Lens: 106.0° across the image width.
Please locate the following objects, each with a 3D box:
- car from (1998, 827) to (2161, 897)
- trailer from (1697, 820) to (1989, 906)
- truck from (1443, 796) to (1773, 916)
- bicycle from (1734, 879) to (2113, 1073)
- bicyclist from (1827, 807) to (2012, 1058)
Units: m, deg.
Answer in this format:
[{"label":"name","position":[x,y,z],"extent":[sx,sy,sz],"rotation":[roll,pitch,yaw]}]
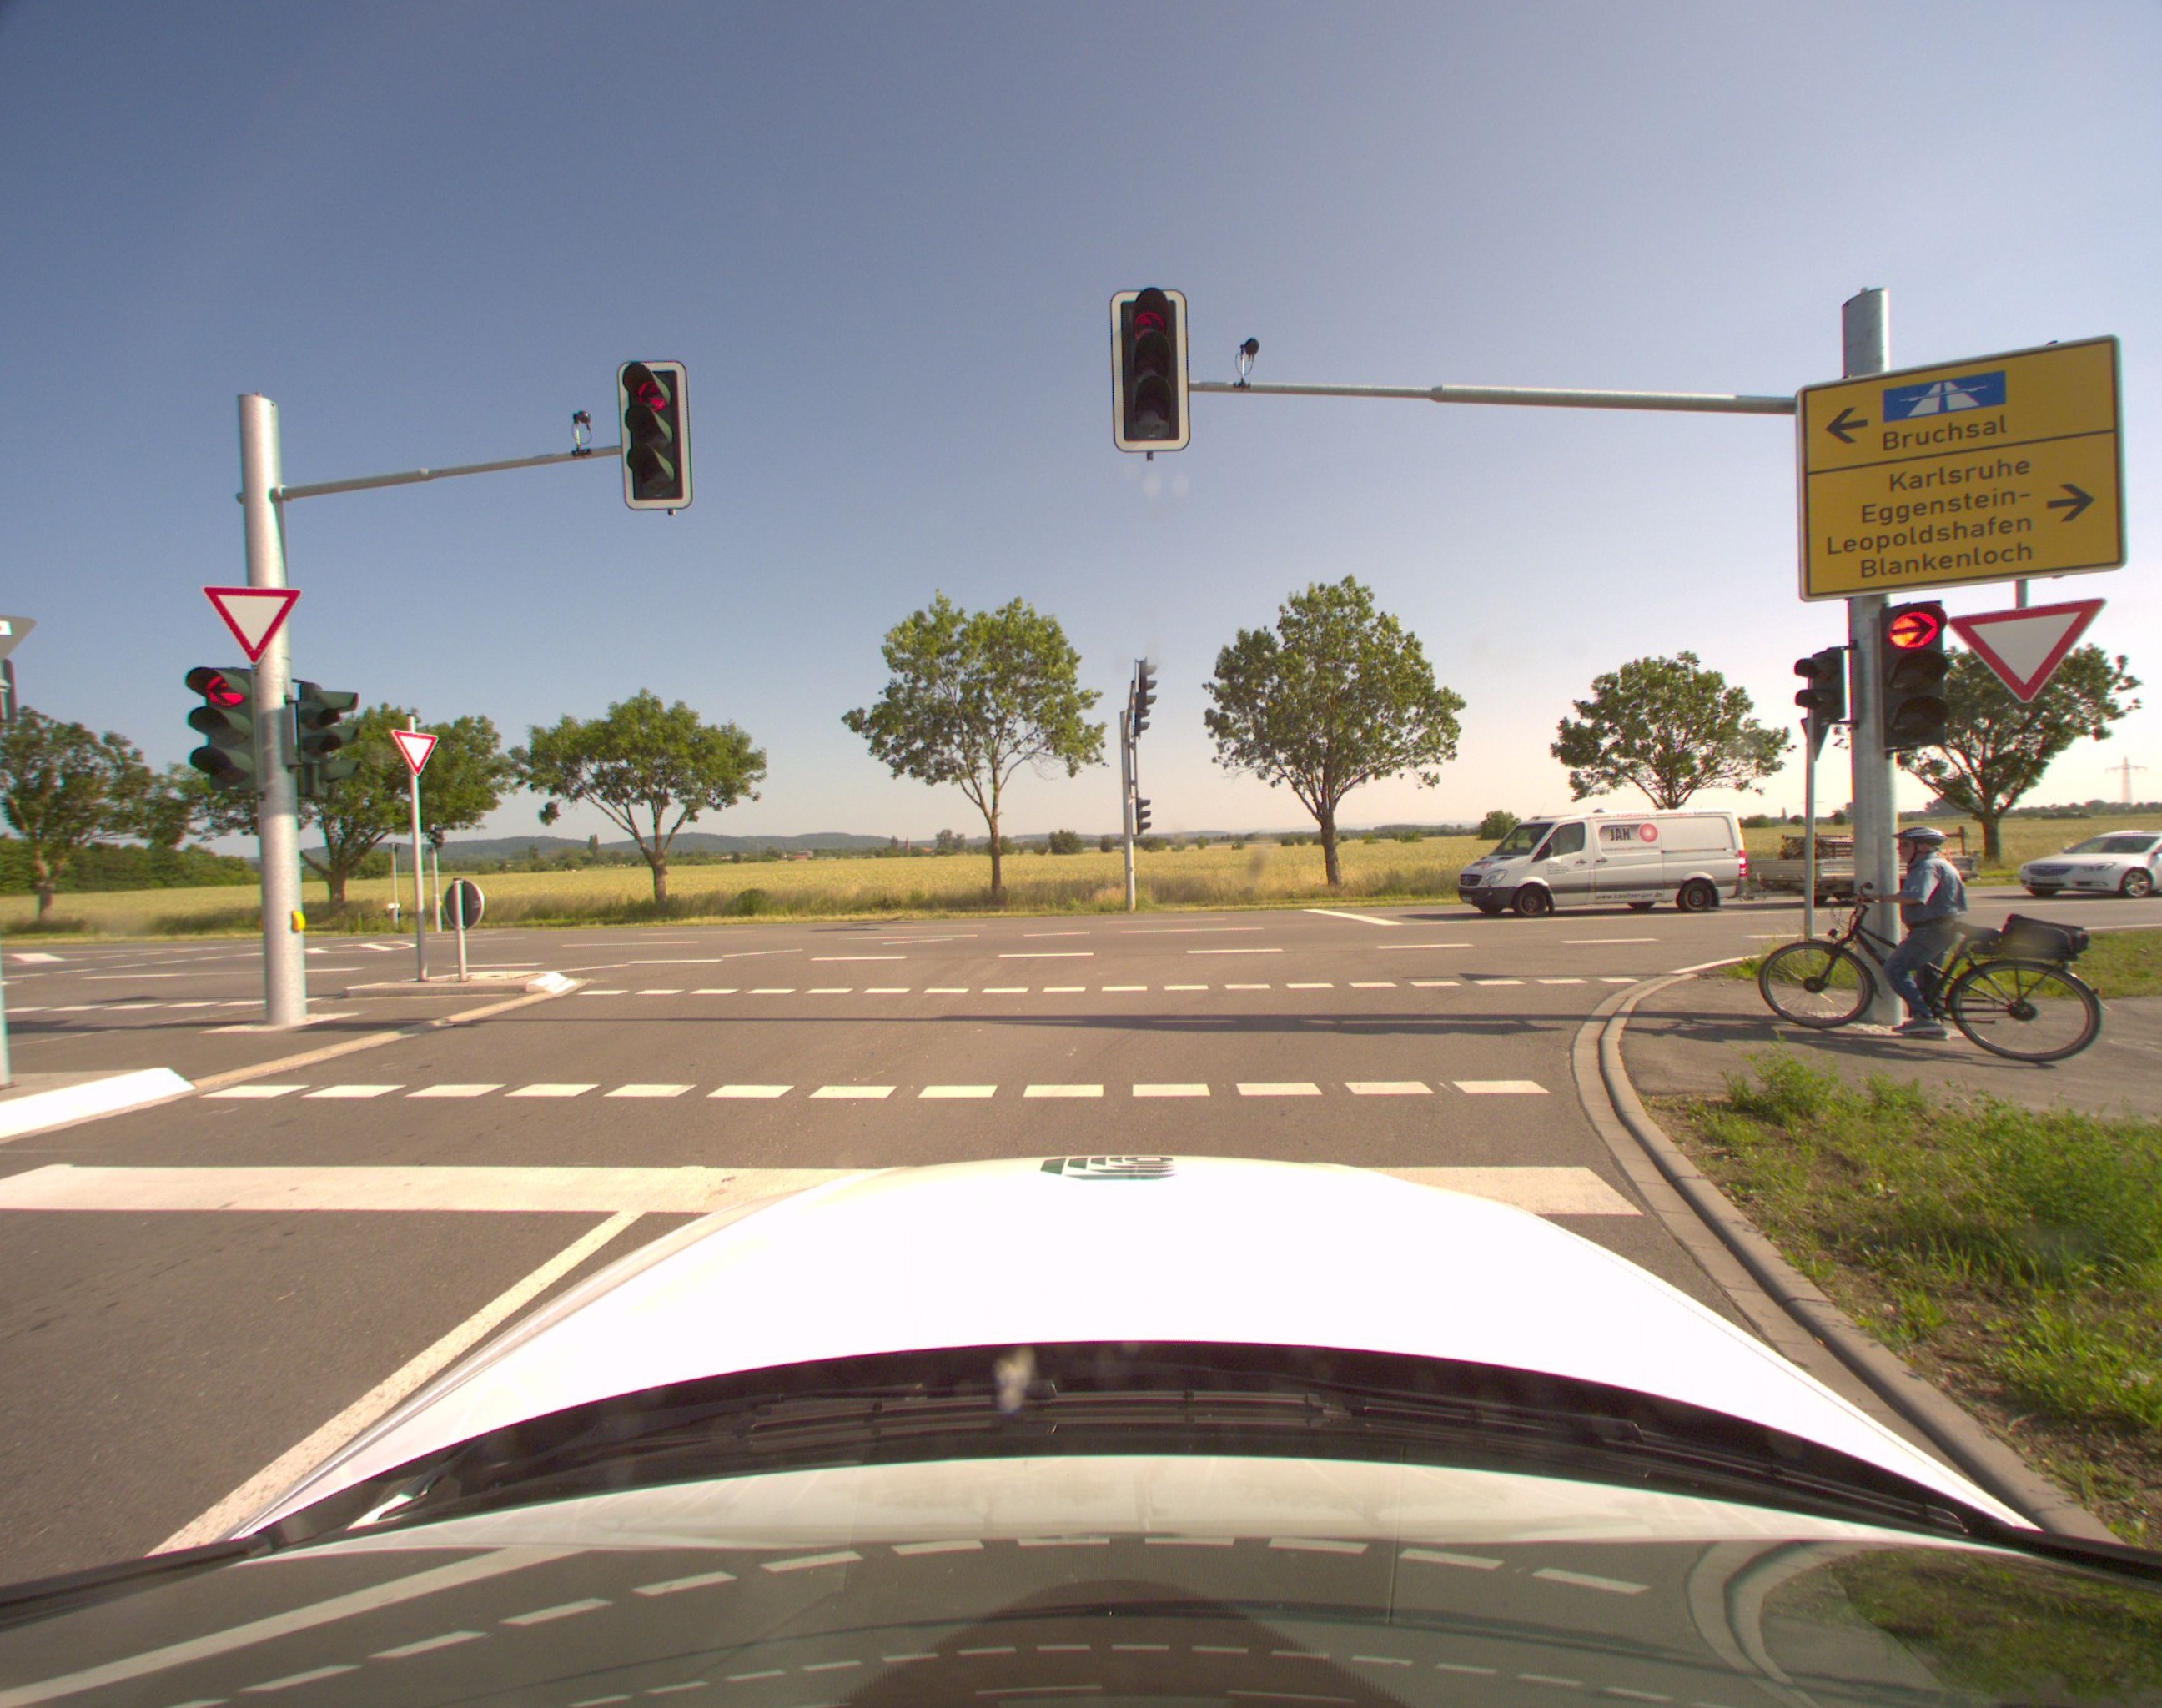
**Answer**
[{"label":"car","position":[24.627,0.132,18.979],"extent":[4.682,1.492,1.763],"rotation":[-2,-1,-3]},{"label":"trailer","position":[17.437,0.214,18.808],"extent":[4.982,1.738,1.979],"rotation":[-2,-1,-2]},{"label":"truck","position":[11.857,0.063,18.661],"extent":[6.157,2.405,2.071],"rotation":[-2,-1,0]},{"label":"bicycle","position":[6.333,0.832,6.280],"extent":[0.685,1.151,1.922],"rotation":[0,2,-44]},{"label":"bicyclist","position":[6.399,0.539,6.252],"extent":[0.623,1.765,0.906],"rotation":[0,1,-44]}]
